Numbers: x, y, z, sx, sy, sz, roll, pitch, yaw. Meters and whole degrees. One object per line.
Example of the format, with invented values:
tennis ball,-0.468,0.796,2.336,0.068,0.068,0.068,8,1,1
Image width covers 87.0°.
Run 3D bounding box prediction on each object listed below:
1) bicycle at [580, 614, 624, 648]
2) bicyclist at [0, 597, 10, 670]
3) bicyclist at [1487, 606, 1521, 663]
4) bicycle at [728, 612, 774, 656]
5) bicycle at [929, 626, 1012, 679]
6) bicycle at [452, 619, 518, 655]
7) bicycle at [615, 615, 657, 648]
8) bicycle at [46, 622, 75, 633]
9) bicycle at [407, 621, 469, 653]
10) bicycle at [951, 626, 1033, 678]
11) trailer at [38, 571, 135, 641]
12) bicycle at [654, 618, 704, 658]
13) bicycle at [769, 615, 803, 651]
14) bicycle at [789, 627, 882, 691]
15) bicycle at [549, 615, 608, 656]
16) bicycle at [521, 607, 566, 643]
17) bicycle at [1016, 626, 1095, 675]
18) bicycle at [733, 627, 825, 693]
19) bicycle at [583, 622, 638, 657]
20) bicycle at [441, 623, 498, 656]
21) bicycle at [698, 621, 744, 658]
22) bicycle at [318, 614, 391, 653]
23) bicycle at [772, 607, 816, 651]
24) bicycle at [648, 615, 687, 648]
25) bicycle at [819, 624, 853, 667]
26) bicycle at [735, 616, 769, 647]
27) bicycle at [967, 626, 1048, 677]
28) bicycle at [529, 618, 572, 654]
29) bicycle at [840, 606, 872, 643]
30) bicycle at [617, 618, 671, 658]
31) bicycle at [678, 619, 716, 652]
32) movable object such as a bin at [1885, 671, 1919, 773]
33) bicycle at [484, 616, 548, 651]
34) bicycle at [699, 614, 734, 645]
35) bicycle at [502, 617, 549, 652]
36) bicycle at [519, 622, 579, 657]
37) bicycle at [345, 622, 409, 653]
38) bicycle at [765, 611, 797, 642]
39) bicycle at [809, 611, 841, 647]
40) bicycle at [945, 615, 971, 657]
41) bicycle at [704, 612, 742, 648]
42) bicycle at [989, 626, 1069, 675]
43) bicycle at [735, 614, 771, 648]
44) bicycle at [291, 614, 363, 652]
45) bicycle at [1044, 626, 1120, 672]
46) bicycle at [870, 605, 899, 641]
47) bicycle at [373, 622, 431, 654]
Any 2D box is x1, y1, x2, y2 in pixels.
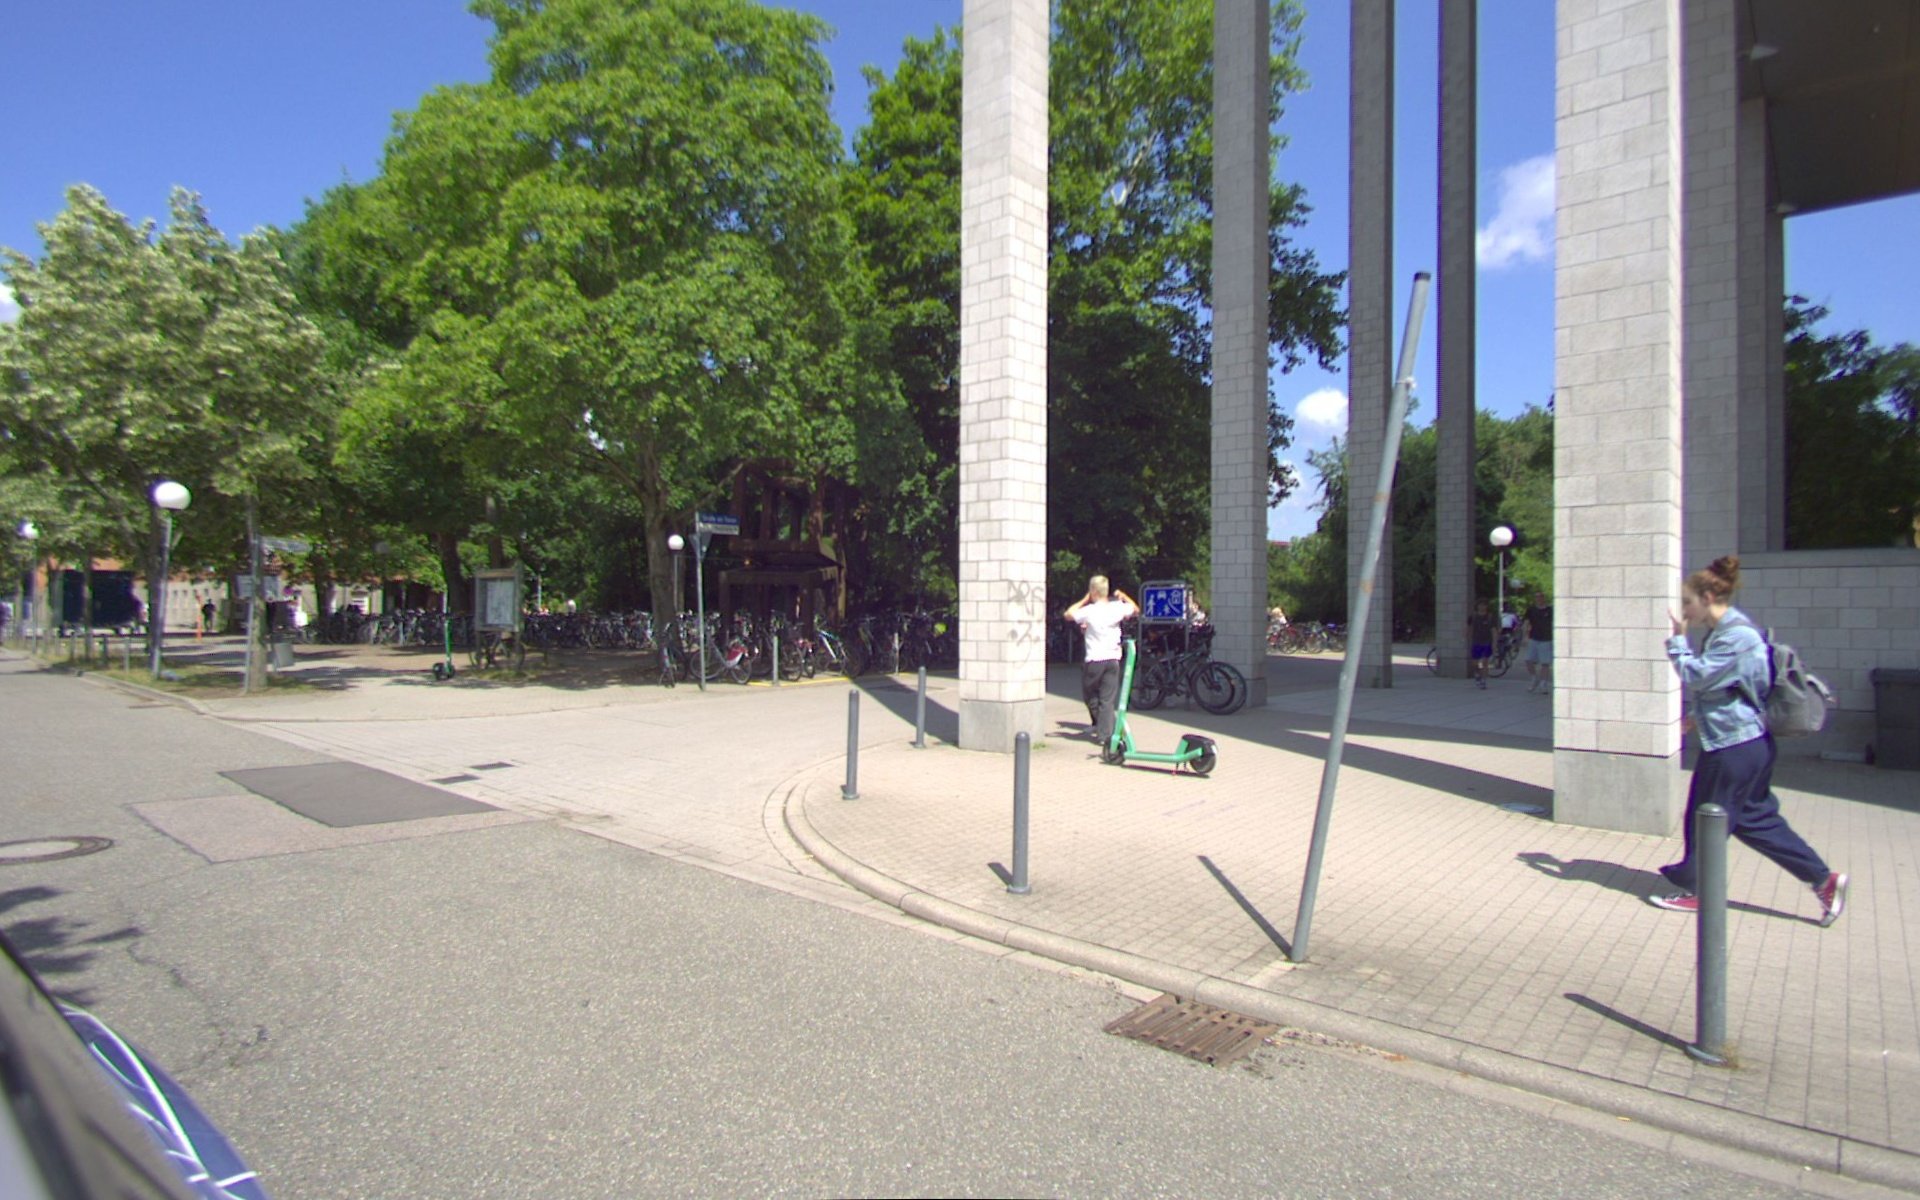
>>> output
bicycle,-12.962,1.106,36.709,0.632,1.167,2.056,-1,0,6
bicyclist,-27.379,0.940,28.515,1.018,2.029,0.704,-1,-3,40
bicyclist,19.771,1.240,36.798,0.837,2.029,0.877,0,-1,-44
bicycle,-6.500,1.041,31.654,0.870,1.296,2.934,-1,0,-1
bicycle,0.214,1.150,22.662,1.972,1.094,0.546,-1,1,42
bicycle,-15.401,1.182,32.912,0.870,1.094,2.752,-1,0,-1
bicycle,-11.796,1.140,36.895,0.632,1.141,2.056,-1,0,6
bicycle,-82.634,2.511,93.006,0.518,1.038,1.930,-1,-1,40
bicycle,-17.531,1.238,34.069,0.671,1.016,2.146,-1,0,11
bicycle,0.709,1.164,22.985,1.972,1.094,0.546,-1,1,42
trailer,-41.110,0.279,47.563,6.264,3.049,2.668,-1,0,42
bicycle,-8.885,1.186,32.152,0.870,1.188,2.709,-1,0,-1
bicycle,-6.130,1.153,35.801,0.632,1.141,2.056,-1,1,6
bicycle,-2.350,1.082,18.949,1.972,1.094,0.546,-1,1,42
bicycle,-12.357,1.118,32.897,0.870,1.229,2.909,-1,0,-1
bicycle,-15.397,0.900,37.467,0.632,1.244,2.056,-1,0,6
bicycle,2.311,1.208,24.645,1.972,1.094,0.546,-1,1,42
bicycle,-3.300,1.055,18.324,1.972,1.094,0.546,-1,1,42
bicycle,-11.227,1.253,32.646,0.870,1.010,2.734,-1,0,-1
bicycle,-16.265,1.284,33.636,0.668,1.016,2.651,-1,0,-1
bicycle,-7.481,1.221,31.797,0.870,1.084,2.684,-1,0,-1
bicycle,-20.918,1.144,35.005,0.804,1.244,2.044,-1,1,24
bicycle,-5.083,0.861,31.211,0.870,1.306,3.083,-1,0,-1
bicycle,-10.586,1.126,36.691,0.632,1.141,2.056,-1,-1,6
bicycle,-3.886,1.397,31.824,0.732,1.134,2.961,-1,2,-1
bicycle,-7.975,1.180,38.894,0.632,1.141,2.056,-1,-1,6
bicycle,1.091,1.175,23.456,1.972,1.094,0.546,-1,1,42
bicycle,-14.846,1.279,36.750,0.473,1.141,2.057,-1,2,6
bicycle,-3.647,0.840,35.525,0.666,1.141,2.057,-1,2,6
bicycle,-10.131,1.201,32.571,0.870,1.187,2.884,-1,0,-1
bicycle,-9.488,1.256,36.563,0.632,1.141,2.056,-1,-1,6
movable object such as a bin,8.718,1.106,9.185,0.447,0.901,0.167,-1,-1,37
bicycle,-14.380,1.051,32.864,0.870,1.058,2.834,-1,0,-1
bicycle,-9.369,1.123,39.038,0.632,1.141,2.056,-1,0,6
bicycle,-16.132,1.259,37.630,0.632,1.244,2.056,-1,0,6
bicycle,-13.362,1.258,32.978,0.870,1.022,2.784,-1,0,-1
bicycle,-19.899,1.265,34.594,0.670,1.016,2.147,-1,0,10
bicycle,-6.834,1.010,38.793,0.632,1.141,2.056,-1,-1,6
bicycle,-4.732,0.994,35.571,0.632,1.141,2.057,-1,2,6
bicycle,-0.087,1.076,30.872,0.732,1.165,2.912,-1,0,-1
bicycle,-8.504,1.058,36.392,0.632,1.141,2.057,-1,2,6
bicycle,1.634,1.189,24.212,1.972,1.094,0.546,-1,1,42
bicycle,-7.311,1.087,35.888,0.632,1.141,2.056,-1,-1,6
bicycle,-22.033,1.143,35.272,0.804,1.244,2.044,-1,0,24
bicycle,3.084,1.229,25.761,1.972,1.094,0.546,-1,1,42
bicycle,-2.624,0.786,35.456,0.632,1.141,2.057,-1,2,6
bicycle,-18.826,1.285,34.171,0.671,1.016,1.885,-1,0,12
